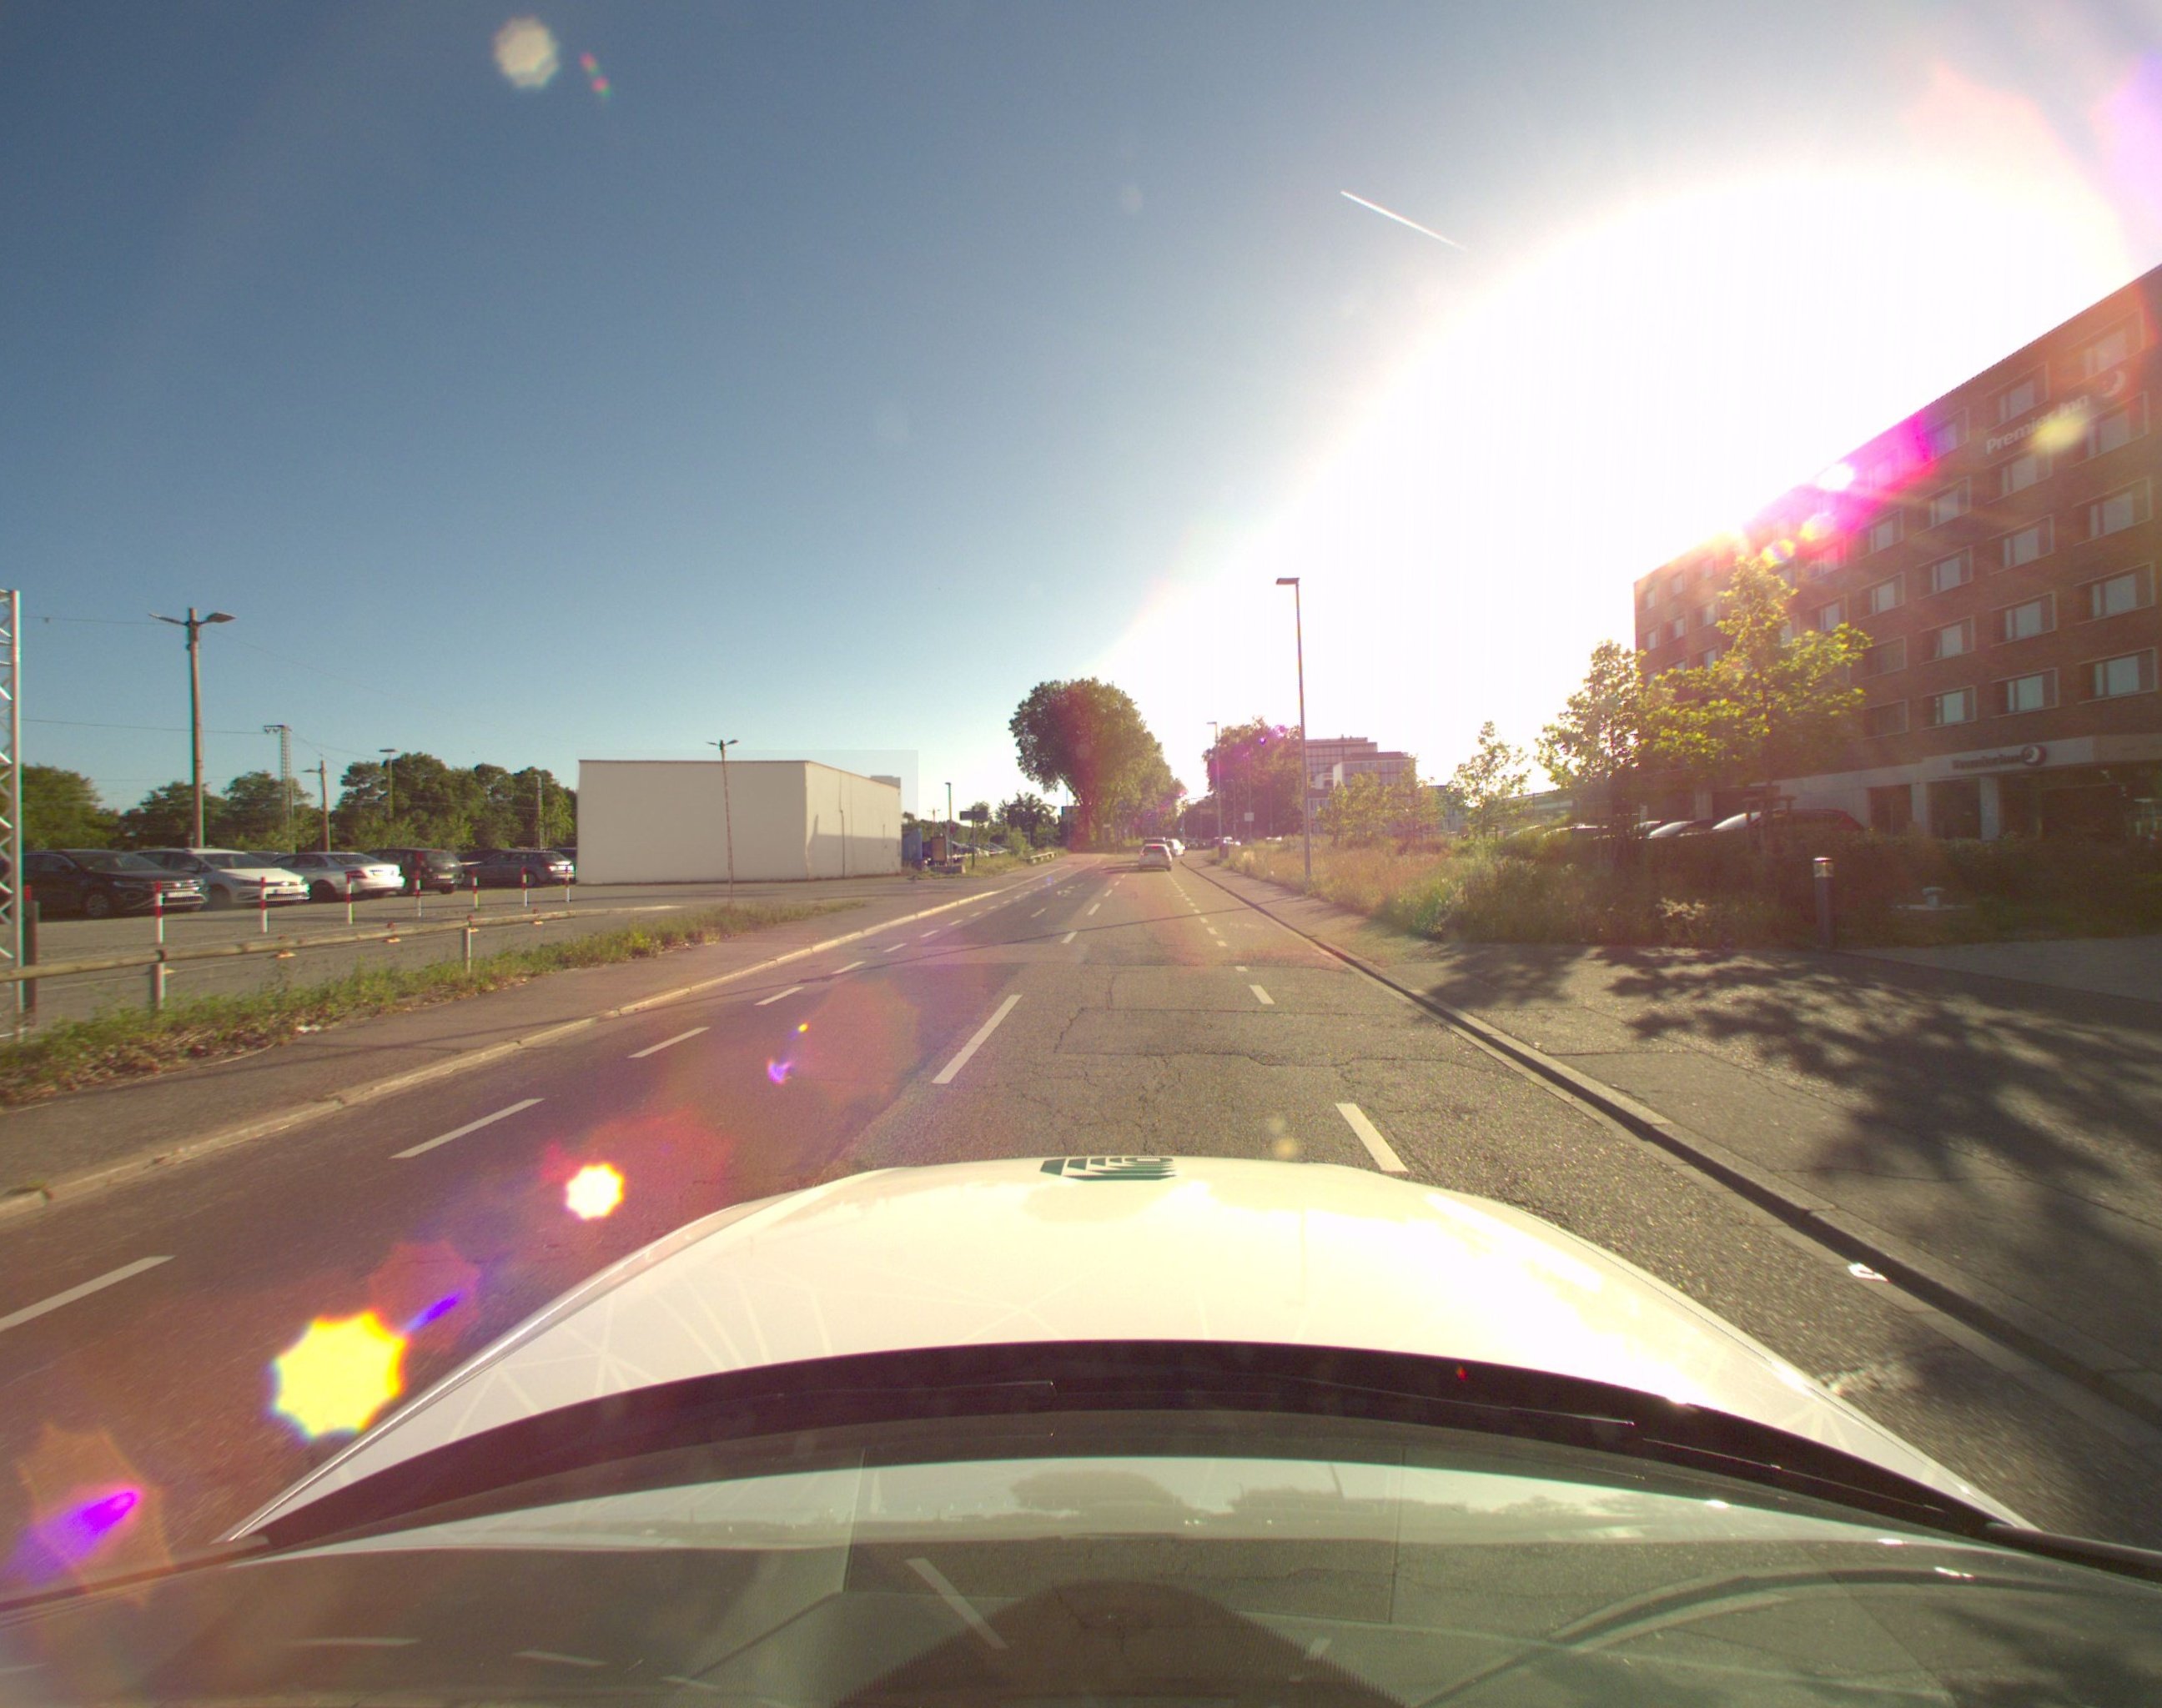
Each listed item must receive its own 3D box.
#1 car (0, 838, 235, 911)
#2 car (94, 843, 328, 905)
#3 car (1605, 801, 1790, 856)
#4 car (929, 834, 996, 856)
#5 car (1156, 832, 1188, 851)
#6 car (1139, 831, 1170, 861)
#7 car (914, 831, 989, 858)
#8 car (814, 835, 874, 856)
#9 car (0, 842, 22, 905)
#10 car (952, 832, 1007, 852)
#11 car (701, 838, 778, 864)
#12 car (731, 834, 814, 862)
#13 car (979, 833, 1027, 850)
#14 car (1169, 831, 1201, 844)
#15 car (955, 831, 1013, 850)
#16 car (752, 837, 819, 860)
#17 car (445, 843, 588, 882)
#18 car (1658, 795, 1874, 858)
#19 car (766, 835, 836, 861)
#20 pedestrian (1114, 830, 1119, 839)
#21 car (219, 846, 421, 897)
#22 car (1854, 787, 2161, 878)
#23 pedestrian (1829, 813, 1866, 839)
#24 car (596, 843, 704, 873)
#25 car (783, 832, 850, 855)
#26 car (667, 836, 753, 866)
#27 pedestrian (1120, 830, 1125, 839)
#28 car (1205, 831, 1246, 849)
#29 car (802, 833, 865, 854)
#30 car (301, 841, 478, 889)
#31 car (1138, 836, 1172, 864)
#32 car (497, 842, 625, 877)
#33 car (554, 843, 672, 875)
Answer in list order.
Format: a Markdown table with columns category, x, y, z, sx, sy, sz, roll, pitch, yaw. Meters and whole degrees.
| category | x | y | z | sx | sy | sz | roll | pitch | yaw |
| --- | --- | --- | --- | --- | --- | --- | --- | --- | --- |
| car | -22.973 | 0.444 | 19.088 | 4.554 | 1.585 | 1.860 | 0 | 1 | 5 |
| car | -22.724 | 0.493 | 21.382 | 4.301 | 1.523 | 1.881 | 0 | 1 | 5 |
| car | 18.714 | -0.766 | 24.895 | 4.161 | 1.580 | 1.856 | 0 | 1 | 8 |
| car | -8.714 | -0.686 | 60.275 | 4.574 | 1.557 | 2.002 | 0 | 1 | 3 |
| car | 8.034 | -1.098 | 71.741 | 1.882 | 1.595 | 4.021 | 0 | 2 | 21 |
| car | 4.669 | -0.549 | 51.834 | 1.810 | 1.768 | 4.636 | 0 | 2 | 5 |
| car | -9.082 | -0.660 | 57.312 | 4.824 | 1.834 | 2.002 | 0 | 1 | 3 |
| car | -19.276 | -0.714 | 66.337 | 4.189 | 1.617 | 1.880 | 0 | 1 | 3 |
| car | -28.241 | 0.504 | 19.208 | 4.301 | 1.523 | 1.881 | 0 | 1 | 5 |
| car | -8.130 | -0.986 | 65.668 | 4.070 | 1.557 | 1.880 | 0 | 1 | 3 |
| car | -20.881 | -0.194 | 49.874 | 3.866 | 1.519 | 1.880 | 0 | 1 | 3 |
| car | -19.959 | -0.373 | 52.765 | 4.554 | 1.740 | 2.063 | 0 | 1 | 8 |
| car | -7.592 | -1.211 | 79.783 | 4.406 | 1.557 | 1.880 | 0 | 1 | 3 |
| car | 13.258 | -2.110 | 103.984 | 2.007 | 1.595 | 3.959 | -1 | 2 | -33 |
| car | -8.150 | -1.135 | 68.484 | 4.522 | 1.557 | 1.880 | 0 | 1 | 3 |
| car | -20.251 | -0.383 | 55.865 | 3.866 | 1.519 | 1.880 | 0 | 1 | 3 |
| car | -22.098 | 0.315 | 31.986 | 4.303 | 1.419 | 1.880 | 0 | 2 | 3 |
| car | 18.407 | -0.726 | 22.068 | 4.161 | 1.580 | 1.856 | 0 | 1 | 8 |
| car | -20.058 | -0.461 | 58.494 | 4.303 | 1.791 | 1.880 | 0 | 1 | 3 |
| pedestrian | 5.628 | -3.017 | 128.232 | 0.675 | 1.415 | 0.685 | -1 | 1 | 5 |
| car | -22.339 | 0.490 | 24.008 | 4.301 | 1.393 | 1.881 | 0 | 2 | 5 |
| car | 17.505 | -0.394 | 15.214 | 4.161 | 1.580 | 1.856 | 0 | 1 | 8 |
| pedestrian | 38.838 | -1.410 | 41.288 | 0.924 | 1.310 | 1.012 | 0 | 1 | 5 |
| car | -21.171 | 0.174 | 40.127 | 4.303 | 1.376 | 1.880 | 0 | 2 | 3 |
| car | -19.862 | -0.805 | 61.217 | 4.303 | 1.617 | 1.880 | 0 | 1 | 3 |
| car | -20.706 | -0.178 | 45.533 | 3.866 | 1.603 | 1.880 | 0 | 1 | 3 |
| pedestrian | 6.512 | -3.023 | 128.066 | 0.675 | 1.415 | 0.685 | -1 | 1 | 5 |
| car | 14.417 | -1.424 | 81.150 | 2.143 | 1.683 | 4.025 | 0 | 1 | 42 |
| car | -19.308 | -0.823 | 63.715 | 4.303 | 1.617 | 1.880 | 0 | 1 | 3 |
| car | -22.558 | 0.343 | 26.665 | 4.301 | 1.463 | 1.881 | 0 | 1 | 5 |
| car | 4.071 | -0.240 | 44.651 | 1.781 | 1.420 | 4.007 | 0 | 2 | 5 |
| car | -22.207 | 0.211 | 34.879 | 4.303 | 1.419 | 1.880 | 0 | 2 | 3 |
| car | -21.326 | 0.217 | 37.209 | 4.303 | 1.376 | 1.880 | 0 | 2 | 3 |
